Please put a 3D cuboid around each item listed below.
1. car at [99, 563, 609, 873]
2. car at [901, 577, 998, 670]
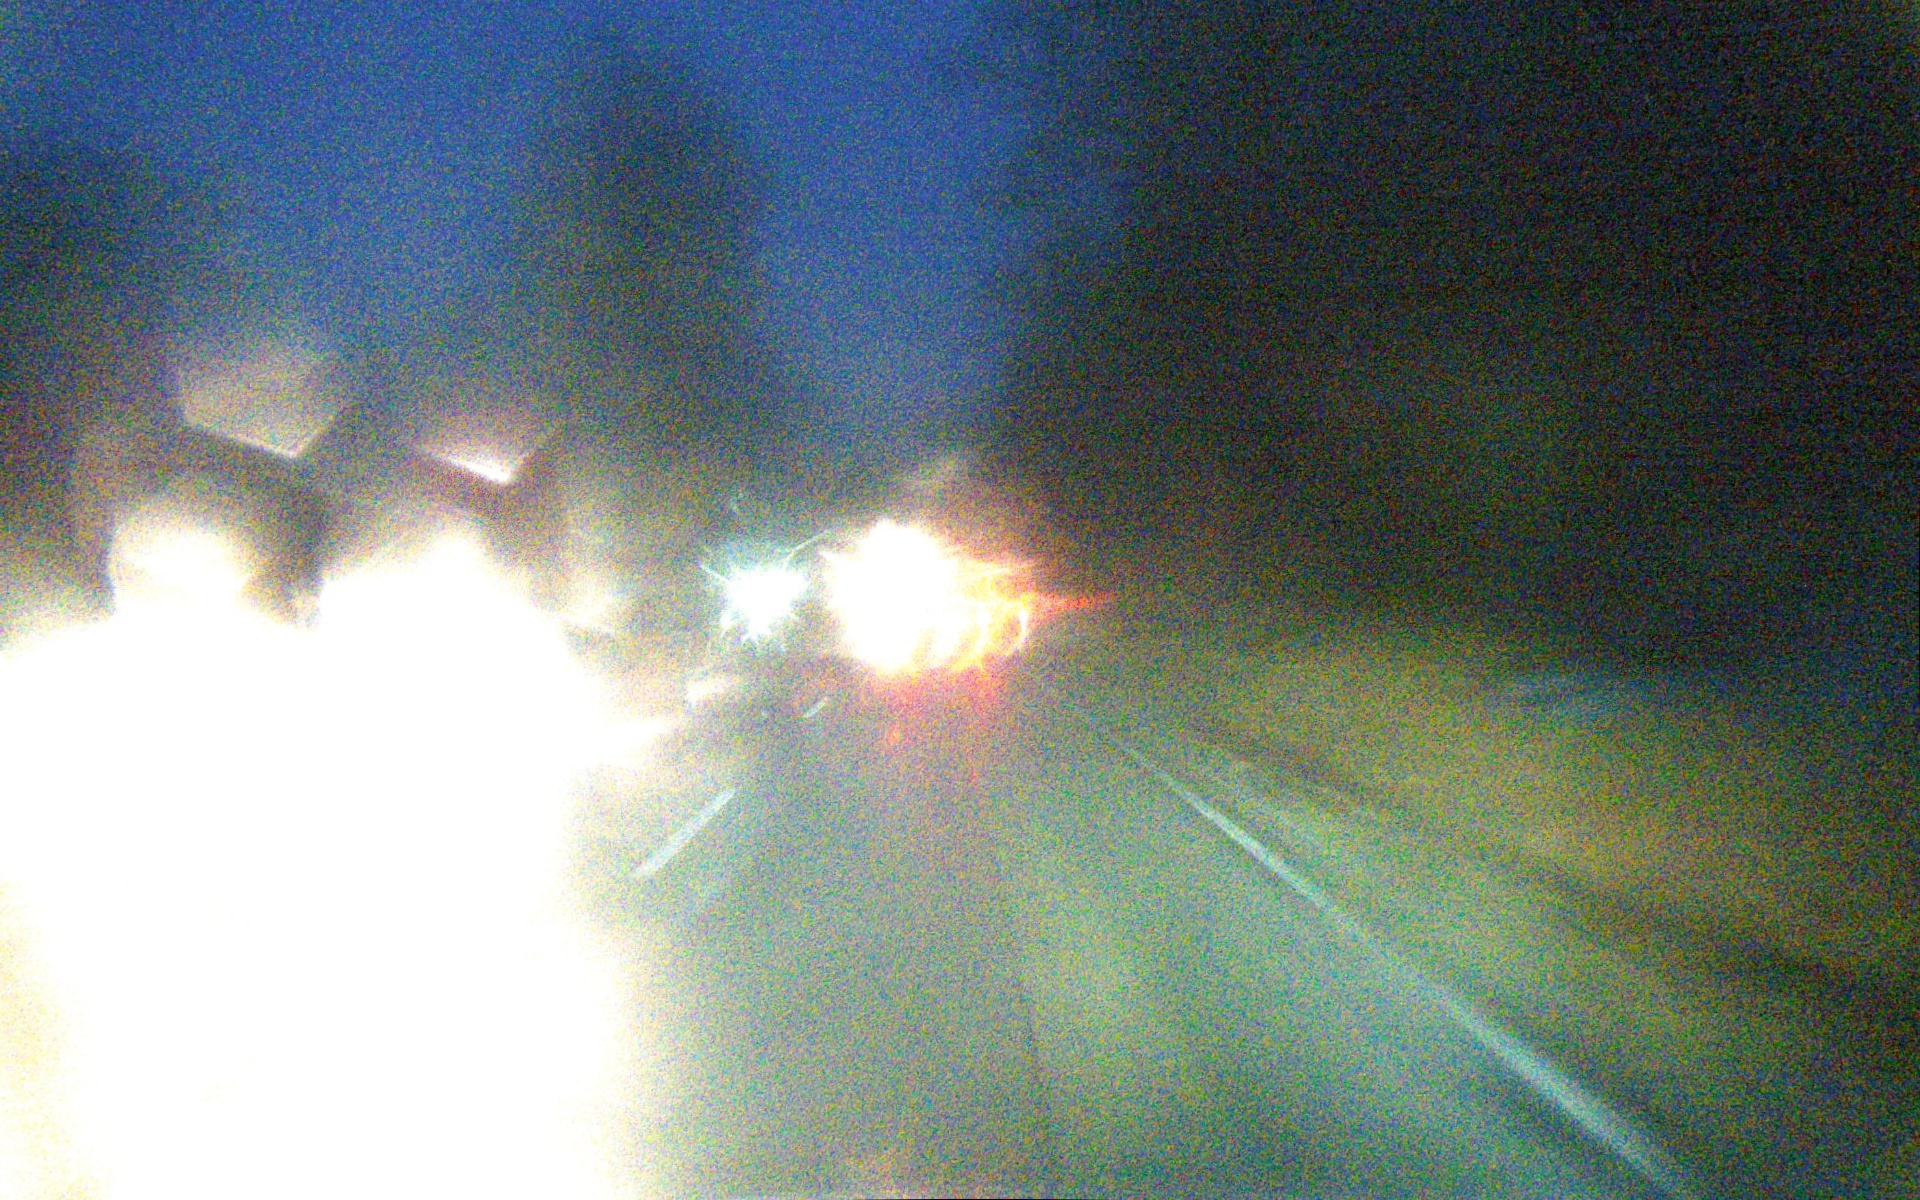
[{"bbox_3d":[-3.658,0.583,10.927,1.763,1.607,4.457,1,1,-1],"label":"car"},{"bbox_3d":[-0.290,0.480,37.808,1.954,1.838,3.916,-2,2,-3],"label":"car"}]
